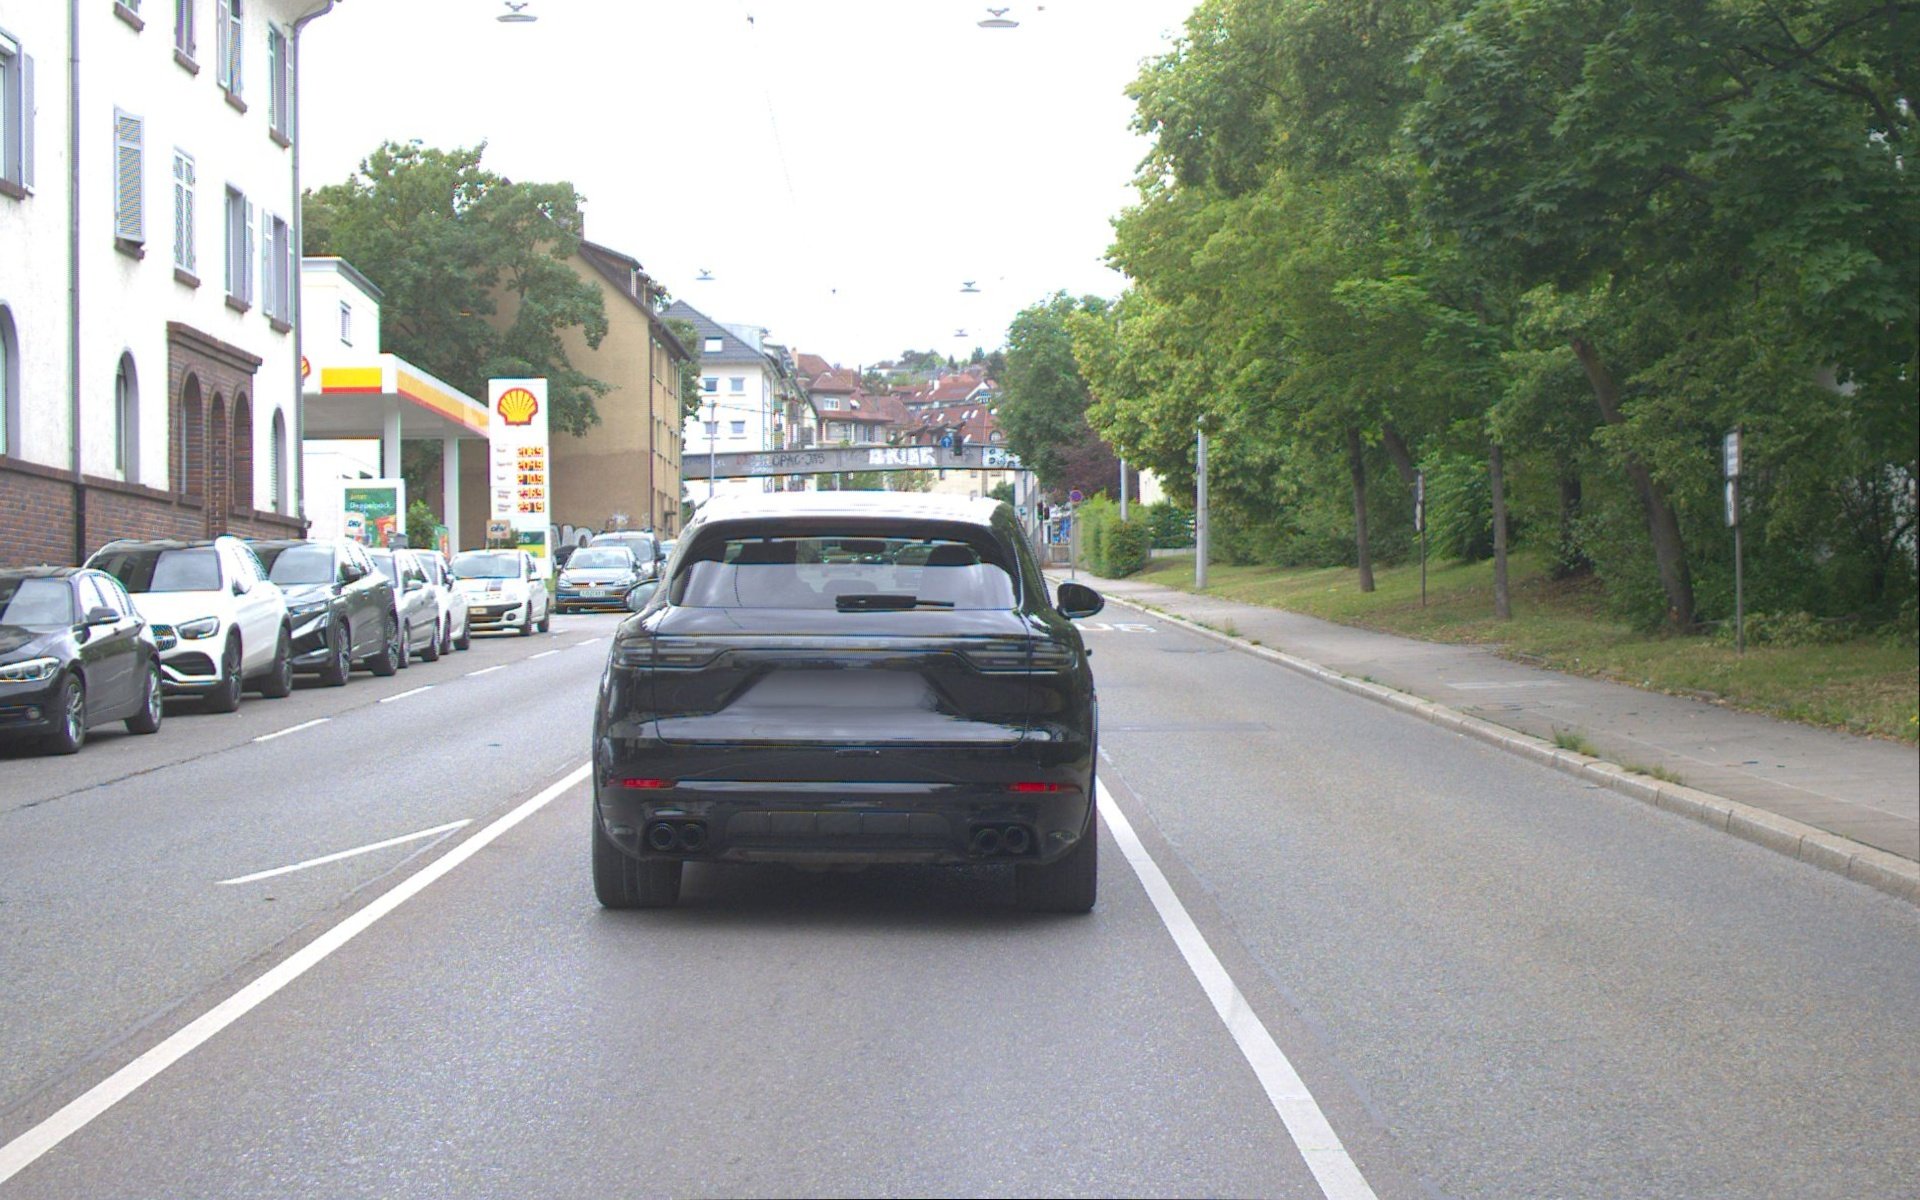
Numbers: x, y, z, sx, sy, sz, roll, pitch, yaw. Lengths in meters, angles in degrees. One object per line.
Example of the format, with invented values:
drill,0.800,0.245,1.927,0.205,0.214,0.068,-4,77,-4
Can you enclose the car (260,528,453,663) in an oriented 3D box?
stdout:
car,-7.644,-0.094,43.864,1.727,1.553,4.082,-3,1,-1

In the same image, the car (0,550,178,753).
car,-7.464,0.356,26.951,1.727,1.424,4.192,-1,1,-1

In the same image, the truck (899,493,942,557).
truck,-2.151,-4.063,188.505,2.266,3.412,9.879,0,1,-1

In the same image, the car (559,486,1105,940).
car,-0.470,0.358,14.573,1.993,1.656,4.000,0,2,0

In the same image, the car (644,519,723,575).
car,-8.209,-1.581,102.413,1.915,1.572,4.700,-1,1,0

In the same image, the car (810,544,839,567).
car,-9.171,-3.013,232.234,1.765,1.503,4.000,0,1,0

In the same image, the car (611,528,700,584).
car,-8.245,-1.214,93.447,1.798,1.426,4.743,-1,1,2

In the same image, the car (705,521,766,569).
car,-8.111,-1.994,124.380,1.783,1.603,4.264,-3,1,1

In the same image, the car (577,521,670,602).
car,-8.001,-0.930,82.108,1.851,1.829,4.702,-2,1,-2

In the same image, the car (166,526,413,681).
car,-7.449,-0.010,38.598,1.727,1.593,4.501,-1,1,2

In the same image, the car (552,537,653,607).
car,-7.893,-0.638,76.221,1.790,1.445,4.218,-2,1,0

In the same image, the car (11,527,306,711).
car,-7.676,0.119,33.363,1.845,1.615,4.644,-1,1,-1

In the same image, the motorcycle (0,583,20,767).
motorcycle,-7.511,0.557,23.438,2.039,1.231,0.808,-3,2,-18

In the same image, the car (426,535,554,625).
car,-7.902,-0.363,58.052,1.619,1.420,3.665,-1,1,0

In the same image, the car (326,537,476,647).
car,-7.898,-0.143,48.796,1.547,1.470,3.604,-1,1,-1
